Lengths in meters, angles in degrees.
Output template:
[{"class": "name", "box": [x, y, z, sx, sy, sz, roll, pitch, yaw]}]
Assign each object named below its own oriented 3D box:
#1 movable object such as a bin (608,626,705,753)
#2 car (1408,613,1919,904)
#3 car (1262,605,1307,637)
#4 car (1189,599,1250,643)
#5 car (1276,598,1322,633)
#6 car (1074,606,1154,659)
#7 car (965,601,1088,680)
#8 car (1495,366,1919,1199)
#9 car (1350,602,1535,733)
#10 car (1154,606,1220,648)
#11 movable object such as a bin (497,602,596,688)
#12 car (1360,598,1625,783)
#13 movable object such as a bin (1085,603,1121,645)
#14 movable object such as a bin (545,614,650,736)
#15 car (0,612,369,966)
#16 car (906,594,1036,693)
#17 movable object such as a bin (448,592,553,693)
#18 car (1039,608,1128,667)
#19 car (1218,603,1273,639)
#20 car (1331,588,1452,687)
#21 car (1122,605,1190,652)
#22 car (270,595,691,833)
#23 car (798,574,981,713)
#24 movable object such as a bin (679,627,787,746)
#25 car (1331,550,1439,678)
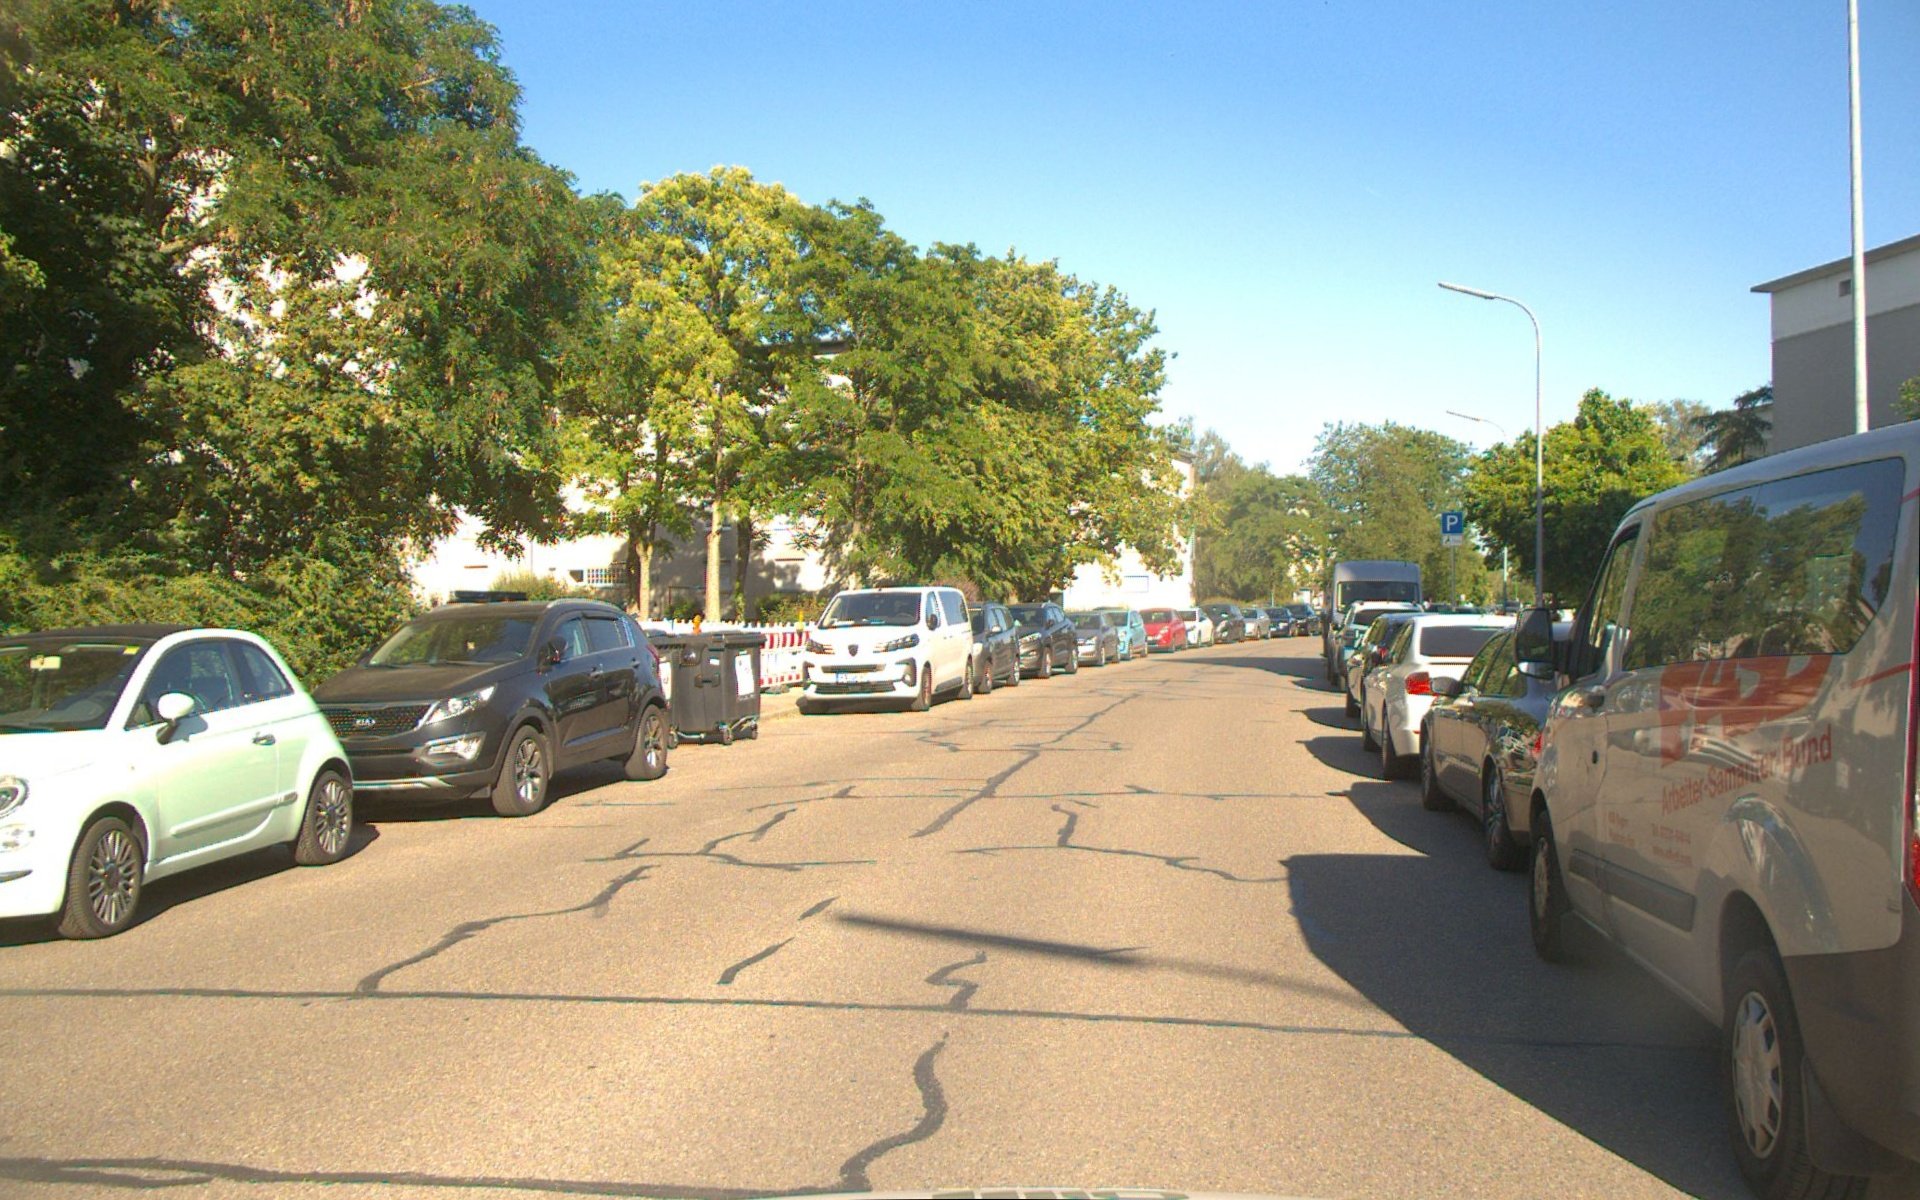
[{"class": "movable object such as a bin", "box": [-3.414, 0.988, 18.700, 0.596, 1.363, 1.270, -1, -1, 14]}, {"class": "car", "box": [4.256, 0.818, 10.774, 1.951, 1.442, 4.927, -1, -1, 8]}, {"class": "car", "box": [15.503, 0.986, 78.921, 1.625, 1.451, 4.051, -2, -1, 17]}, {"class": "car", "box": [10.697, 0.862, 67.936, 1.635, 1.696, 4.407, -2, -1, 19]}, {"class": "car", "box": [17.341, 0.781, 84.430, 1.626, 1.718, 4.049, -3, -1, 21]}, {"class": "car", "box": [4.678, 0.963, 49.782, 1.635, 1.500, 3.680, -2, -1, 17]}, {"class": "car", "box": [1.573, 0.874, 37.381, 1.711, 1.646, 4.365, -1, 0, 17]}, {"class": "car", "box": [3.236, 0.507, 5.599, 1.951, 1.946, 4.957, -1, -1, 9]}, {"class": "car", "box": [6.135, 0.809, 21.461, 1.869, 1.514, 4.379, -1, -1, 11]}, {"class": "car", "box": [8.492, 0.989, 61.652, 1.635, 1.446, 3.902, -2, -1, 19]}, {"class": "movable object such as a bin", "box": [-7.096, 0.762, 28.456, 1.248, 1.426, 1.263, -1, -1, 9]}, {"class": "car", "box": [4.910, 0.763, 15.835, 1.869, 1.514, 4.379, -1, -1, 11]}, {"class": "movable object such as a bin", "box": [5.355, 0.900, 61.794, 1.087, 1.525, 1.409, -1, 0, 15]}, {"class": "movable object such as a bin", "box": [-4.344, 0.883, 19.903, 1.039, 1.424, 0.894, 0, 0, 2]}, {"class": "car", "box": [-4.791, 0.869, 9.124, 1.592, 1.554, 3.421, -1, 0, 5]}, {"class": "car", "box": [0.294, 0.785, 31.690, 1.522, 1.752, 4.344, -1, 0, 13]}, {"class": "movable object such as a bin", "box": [-7.371, 0.674, 26.603, 1.231, 1.578, 1.281, -1, -1, 6]}, {"class": "car", "box": [3.373, 0.987, 44.701, 1.635, 1.462, 4.003, -2, -1, 15]}, {"class": "car", "box": [12.810, 0.928, 74.030, 1.626, 1.512, 4.053, -3, -1, 21]}, {"class": "car", "box": [7.909, 0.661, 30.652, 1.869, 1.695, 4.379, -1, -1, 11]}, {"class": "car", "box": [6.713, 0.947, 56.357, 1.635, 1.500, 3.680, -2, -1, 17]}, {"class": "car", "box": [-3.801, 0.829, 13.961, 1.639, 1.667, 4.254, -2, 0, 10]}, {"class": "car", "box": [-1.016, 0.643, 26.499, 1.823, 1.995, 4.674, -1, 0, 12]}, {"class": "movable object such as a bin", "box": [-2.704, 1.011, 19.809, 0.786, 1.339, 1.322, -1, 0, 17]}, {"class": "car", "box": [9.179, 0.287, 35.946, 2.060, 2.530, 5.860, 1, 0, 14]}]
